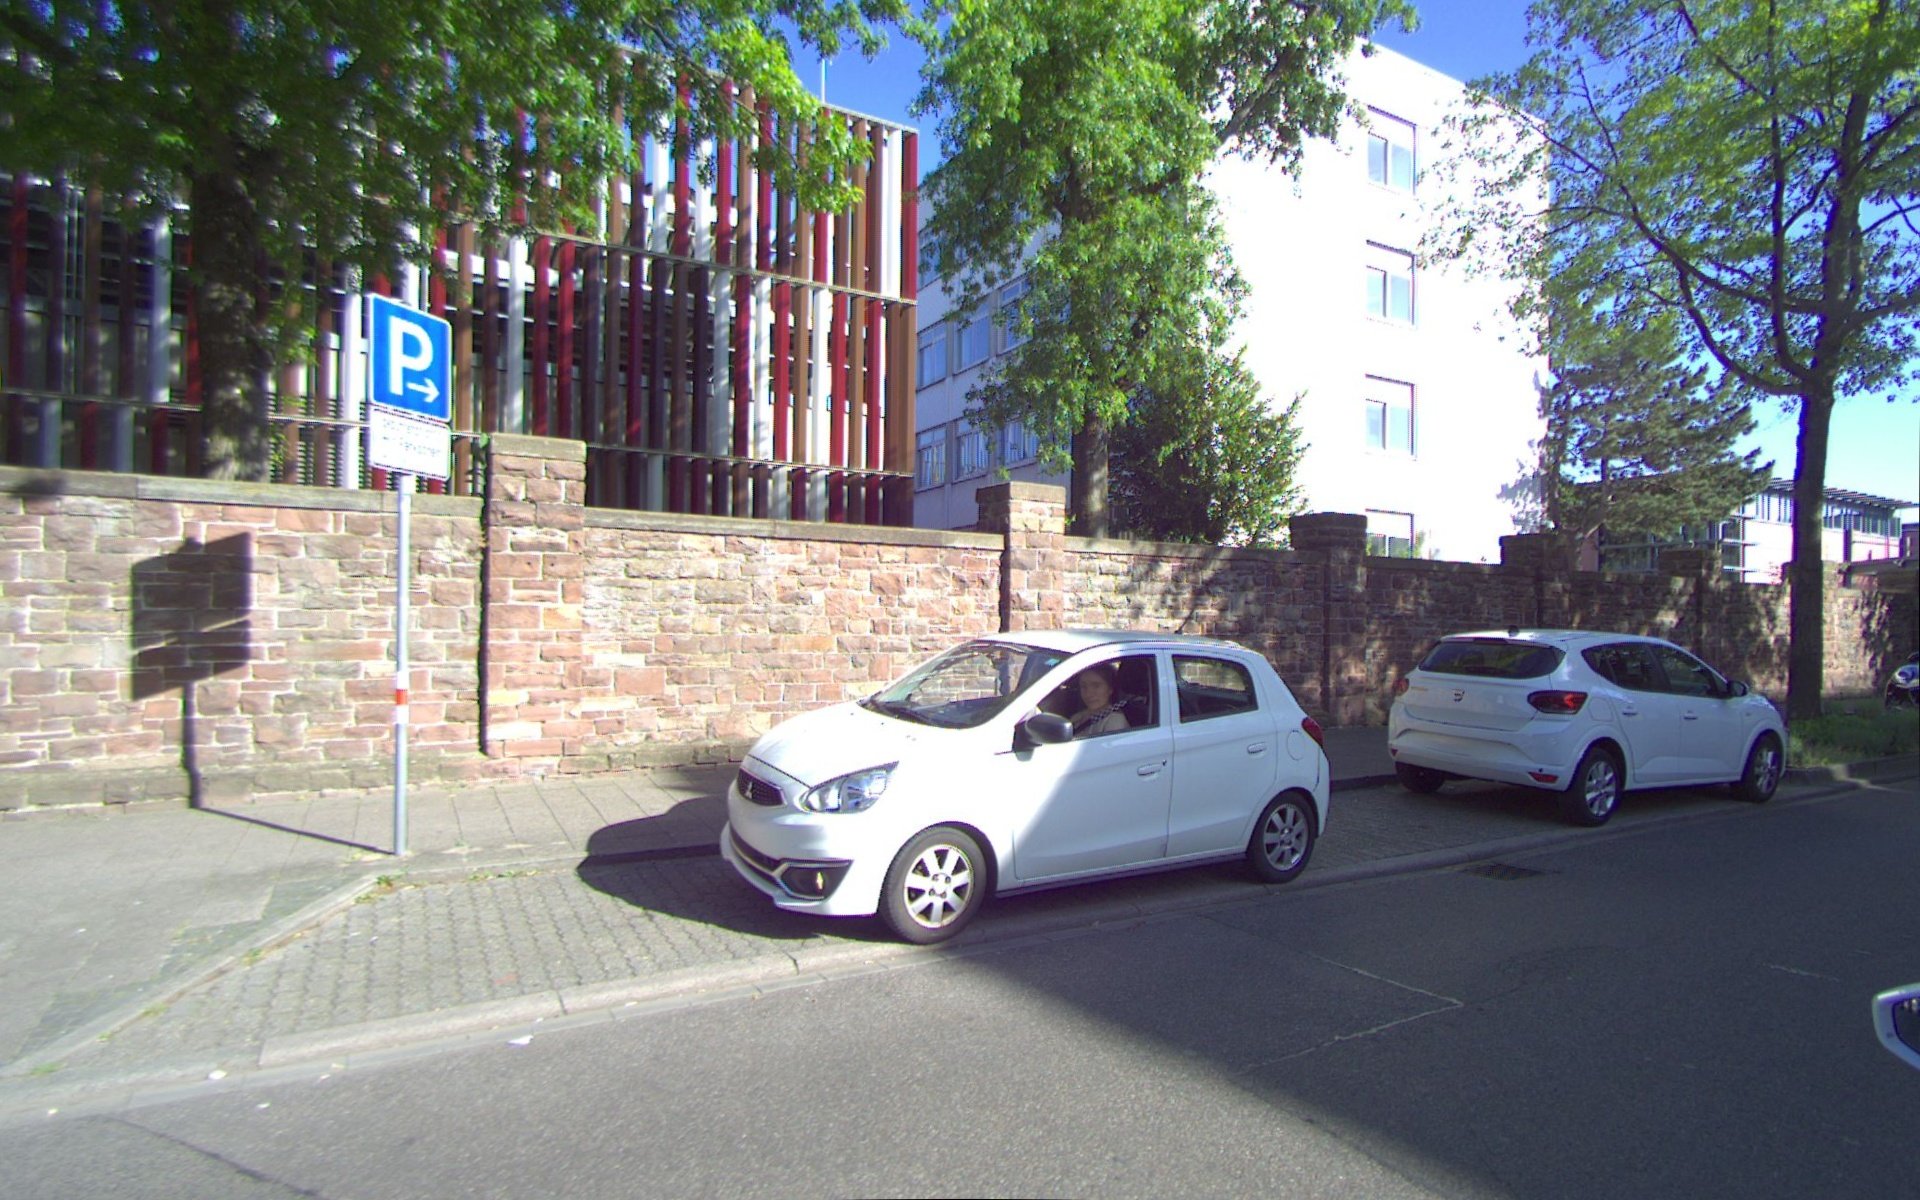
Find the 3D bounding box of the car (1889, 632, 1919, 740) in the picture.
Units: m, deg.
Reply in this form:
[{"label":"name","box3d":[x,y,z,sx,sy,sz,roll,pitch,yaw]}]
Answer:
[{"label":"car","box3d":[15.610,1.272,14.948,3.998,1.535,1.566,2,-1,-31]}]

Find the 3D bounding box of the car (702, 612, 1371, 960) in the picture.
[{"label":"car","box3d":[0.538,0.853,5.964,3.707,1.421,1.566,1,2,-31]}]

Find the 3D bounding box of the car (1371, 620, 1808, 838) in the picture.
[{"label":"car","box3d":[5.758,1.023,9.134,3.802,1.531,1.669,1,2,-29]}]
